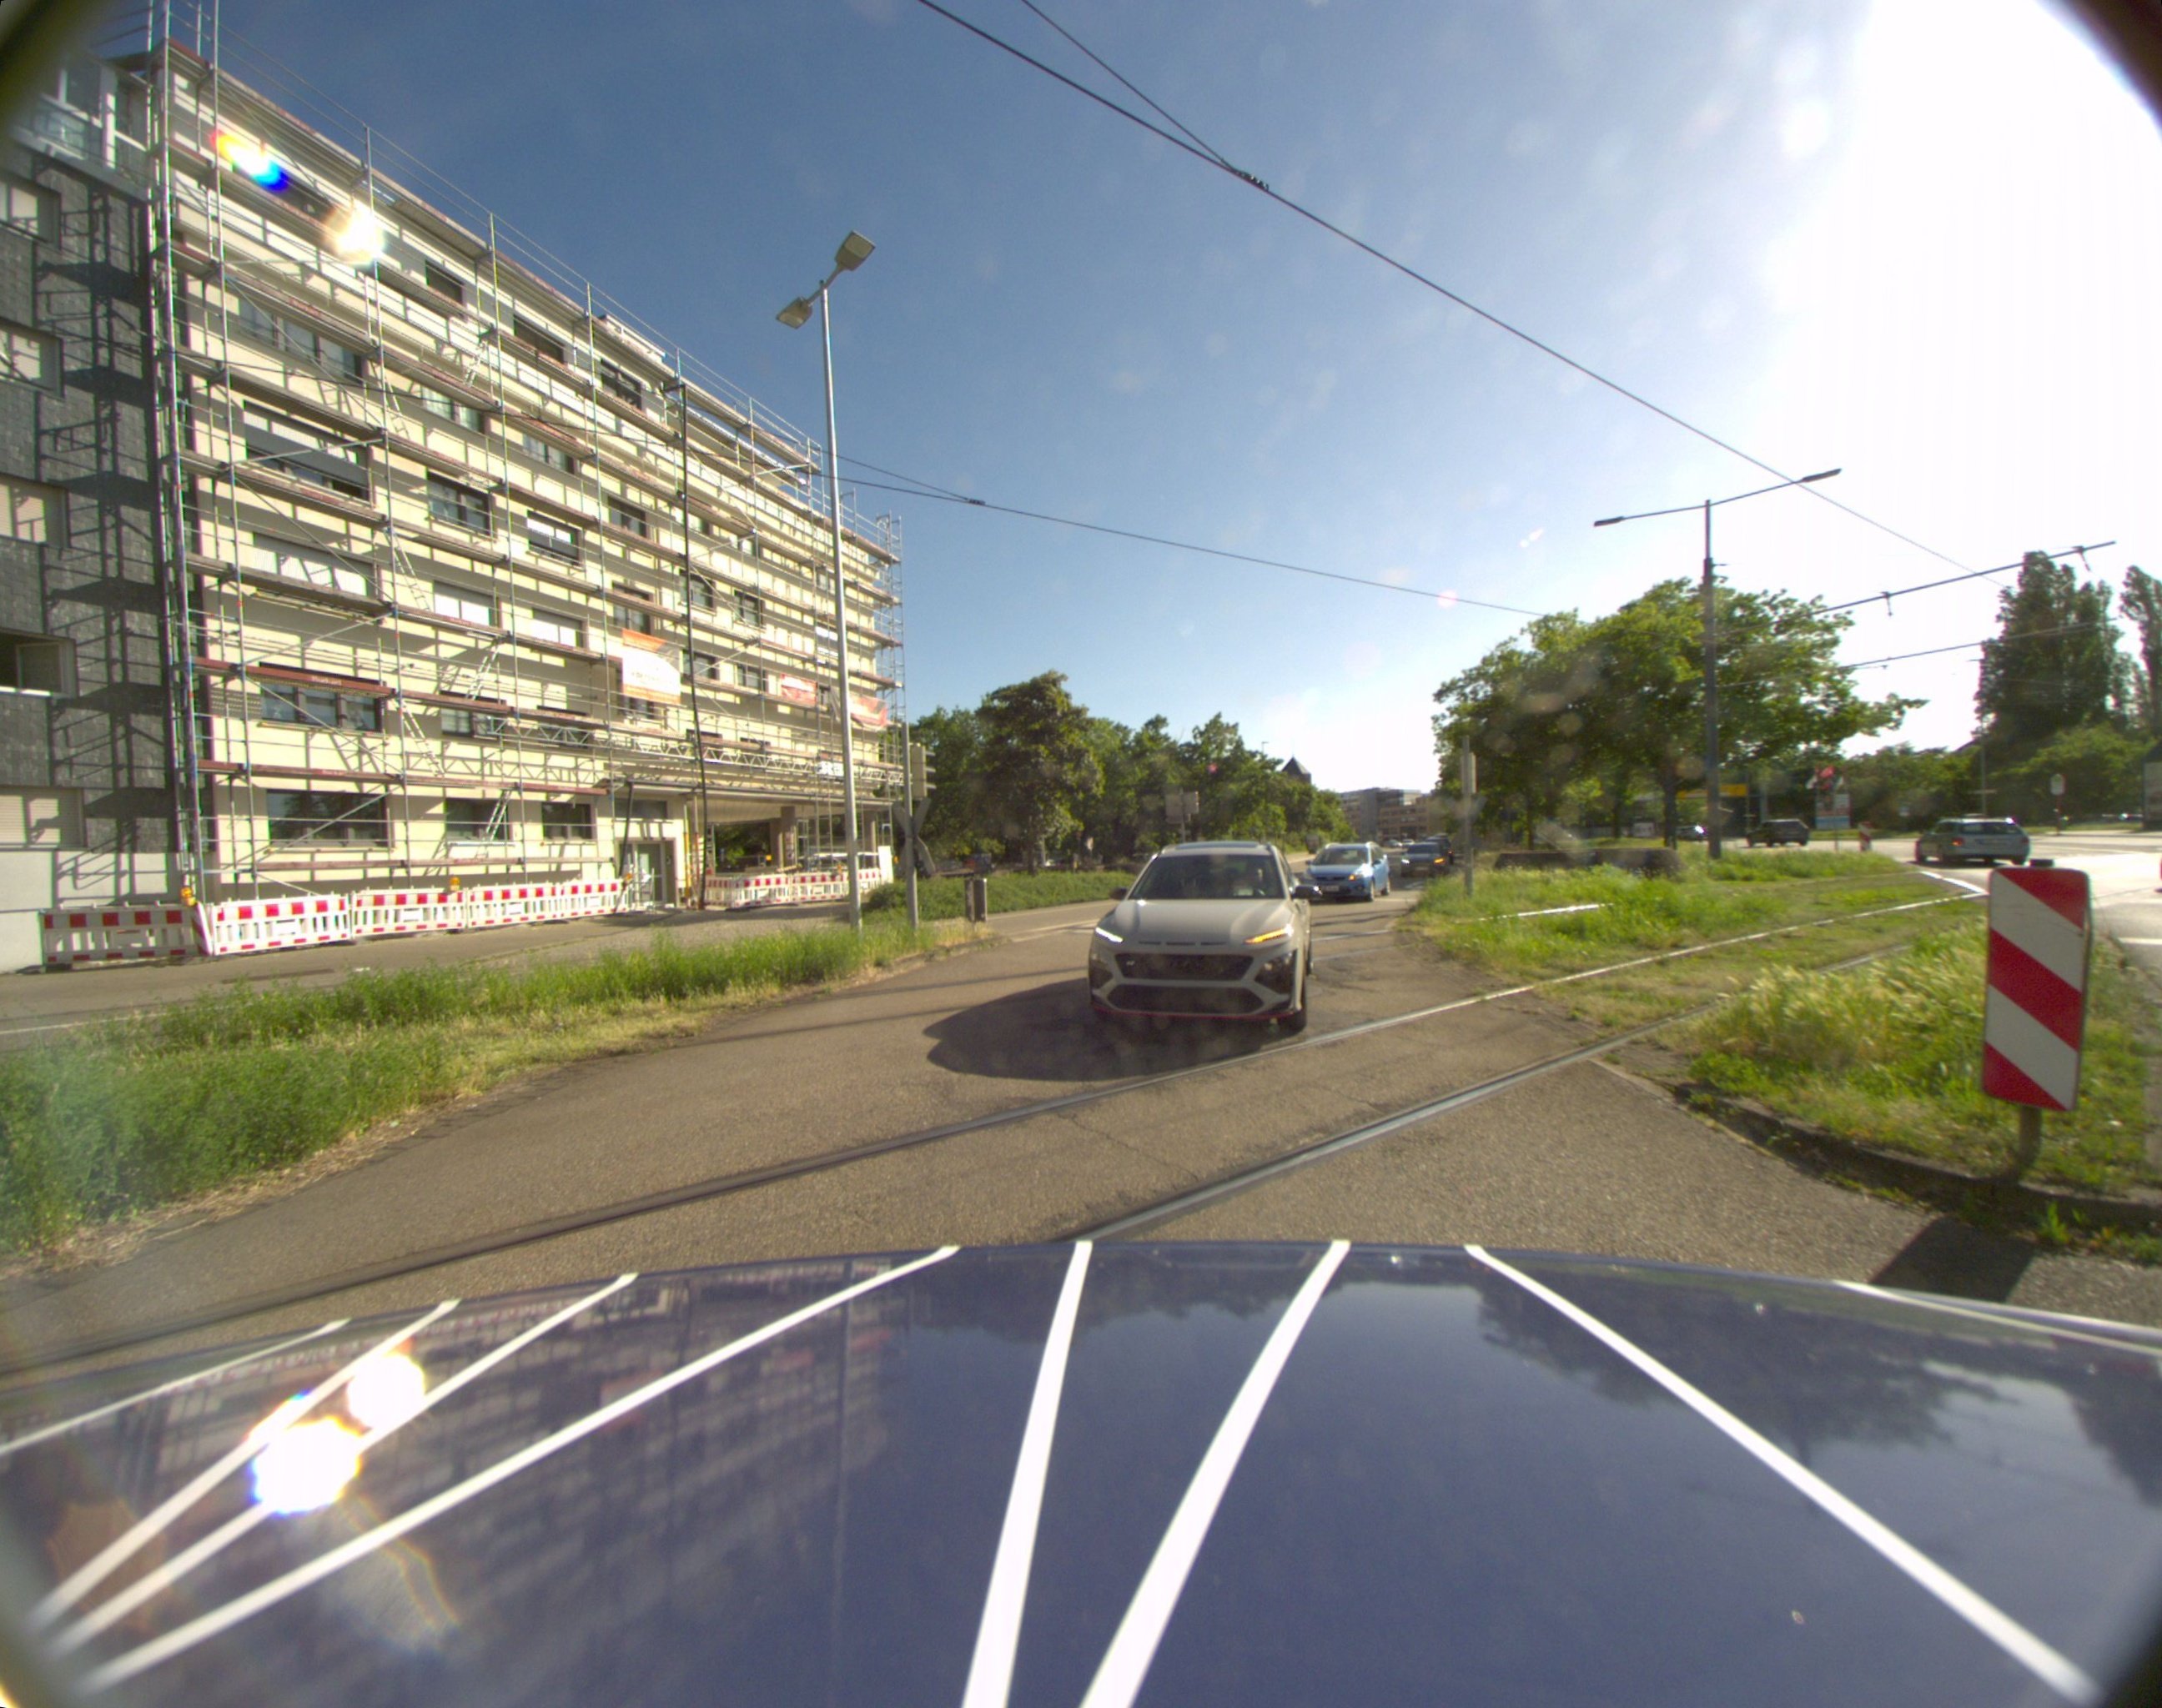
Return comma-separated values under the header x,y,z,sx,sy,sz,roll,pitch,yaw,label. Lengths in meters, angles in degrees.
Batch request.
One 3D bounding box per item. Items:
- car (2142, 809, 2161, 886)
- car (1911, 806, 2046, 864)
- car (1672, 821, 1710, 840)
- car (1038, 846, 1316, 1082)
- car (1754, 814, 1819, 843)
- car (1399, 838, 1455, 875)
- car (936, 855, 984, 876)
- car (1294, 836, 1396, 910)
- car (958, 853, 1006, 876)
x,y,z,sx,sy,sz,roll,pitch,yaw,label
21.703,-0.113,13.604,1.994,1.543,4.493,-2,1,39,car
28.946,-0.616,24.678,1.994,1.652,4.493,-2,1,39,car
56.967,-2.158,71.009,1.995,1.652,4.492,-2,1,29,car
1.267,0.746,7.489,1.902,1.543,4.490,-2,1,17,car
44.163,-1.594,47.664,1.995,1.652,4.492,-2,1,30,car
15.333,0.089,33.544,1.869,1.447,4.492,-2,1,29,car
-9.229,0.856,58.172,1.817,1.386,3.690,-2,1,24,car
7.332,0.457,20.827,1.869,1.765,4.492,-2,1,29,car
-7.358,0.766,56.964,1.817,1.575,3.690,-2,1,24,car
